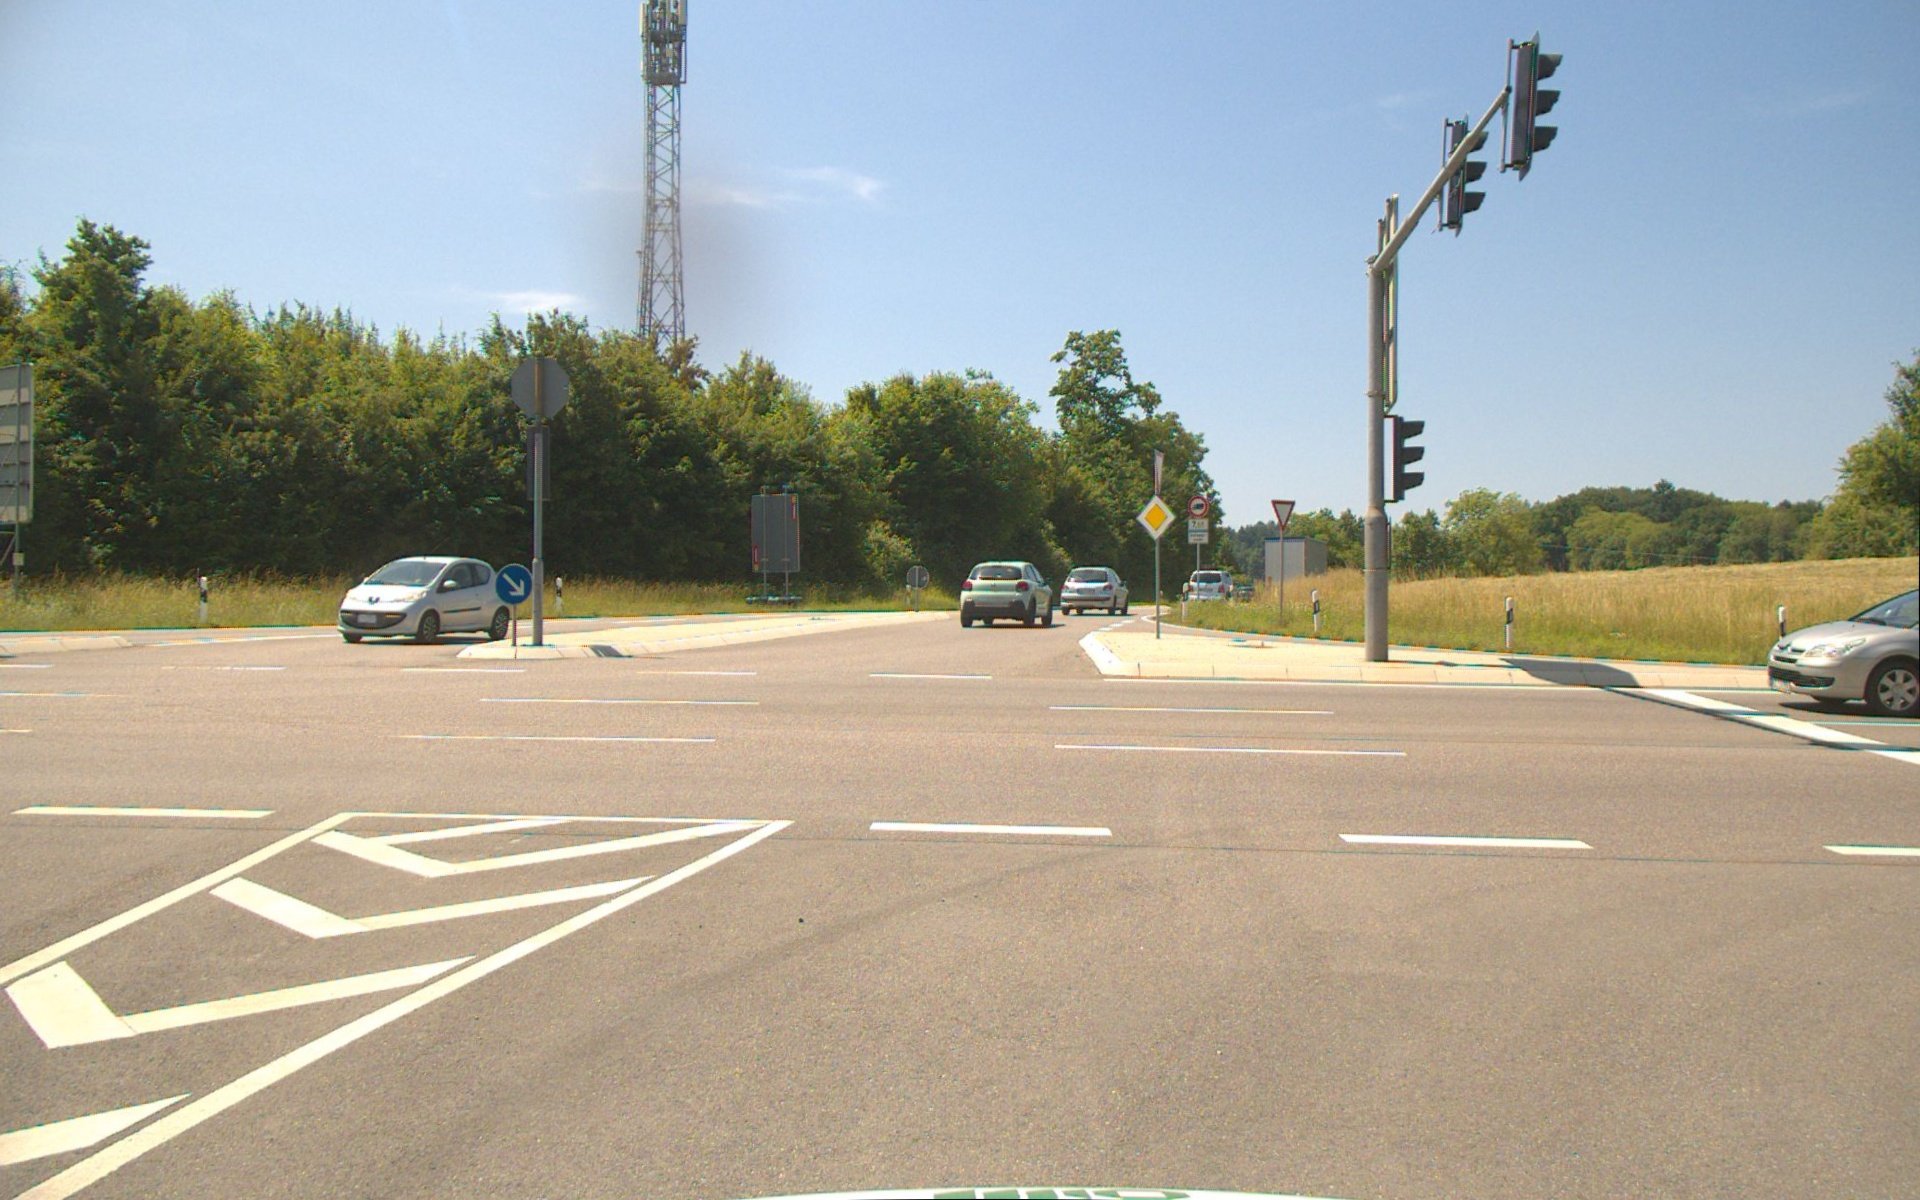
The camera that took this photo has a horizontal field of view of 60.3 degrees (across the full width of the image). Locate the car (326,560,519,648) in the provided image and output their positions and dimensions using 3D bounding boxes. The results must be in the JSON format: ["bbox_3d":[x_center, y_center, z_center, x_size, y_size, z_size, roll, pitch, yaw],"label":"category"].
[{"bbox_3d":[-9.317,0.018,28.947,1.532,1.394,3.534,1,2,15],"label":"car"}]

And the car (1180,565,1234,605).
[{"bbox_3d":[10.834,-0.699,72.451,1.774,1.653,4.063,0,2,17],"label":"car"}]

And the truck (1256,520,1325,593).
[{"bbox_3d":[21.168,-2.663,105.120,3.059,4.245,16.699,1,1,15],"label":"truck"}]

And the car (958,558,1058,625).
[{"bbox_3d":[1.177,-0.244,38.840,1.692,1.428,3.991,2,2,11],"label":"car"}]

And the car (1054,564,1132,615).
[{"bbox_3d":[4.083,-0.359,50.429,1.774,1.437,3.787,1,2,14],"label":"car"}]

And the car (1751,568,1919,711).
[{"bbox_3d":[11.492,0.440,18.859,4.069,1.495,1.731,1,3,4],"label":"car"}]
